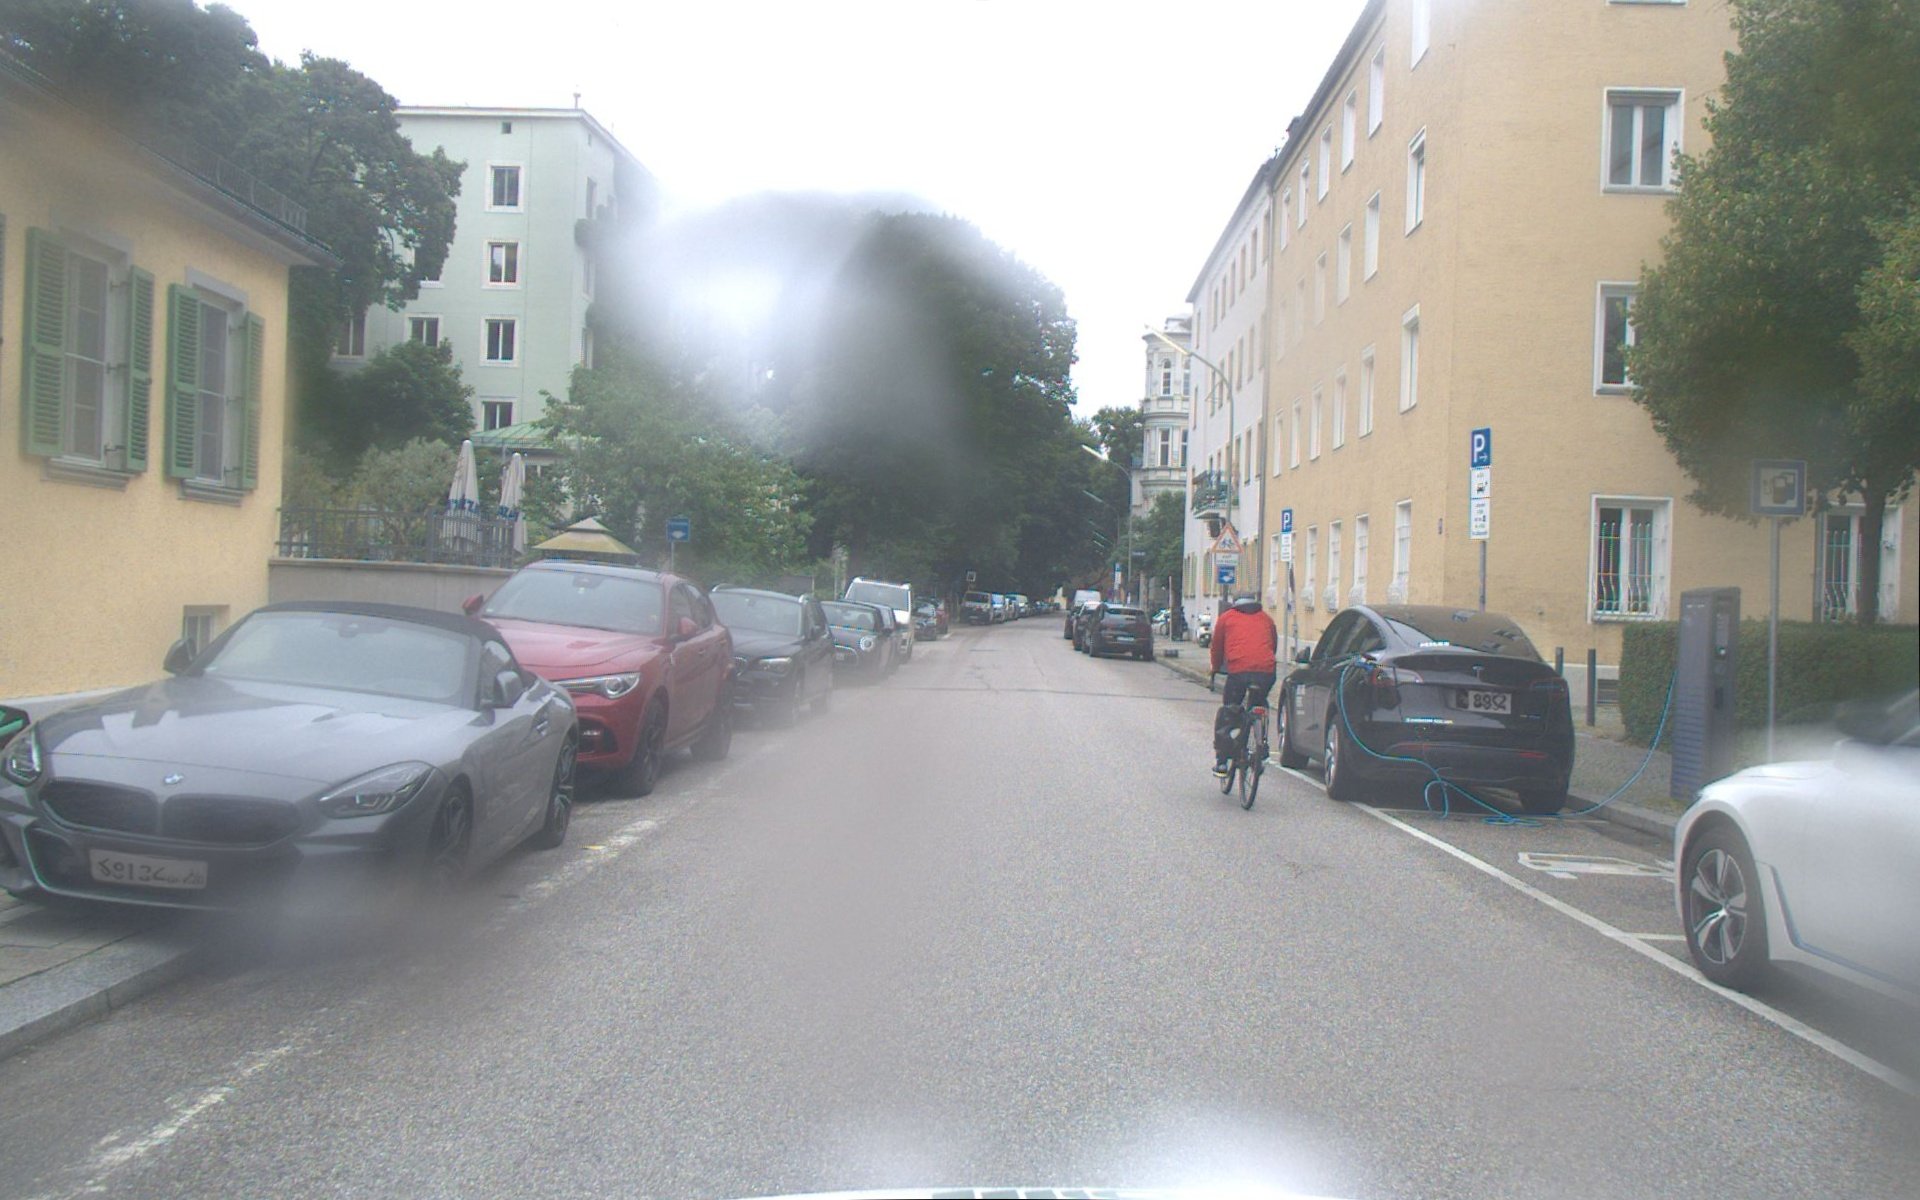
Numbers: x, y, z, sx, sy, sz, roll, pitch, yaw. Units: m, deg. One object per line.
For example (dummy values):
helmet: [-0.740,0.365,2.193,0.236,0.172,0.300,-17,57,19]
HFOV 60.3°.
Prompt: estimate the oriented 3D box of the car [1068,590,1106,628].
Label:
car: [7.749,0.535,101.023,2.157,2.247,4.857,1,-1,3]

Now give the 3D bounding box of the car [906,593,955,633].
car: [-1.267,0.560,73.284,1.848,1.618,4.529,3,0,2]

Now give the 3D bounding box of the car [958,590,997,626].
car: [1.108,0.477,101.379,2.201,1.990,5.454,3,0,2]

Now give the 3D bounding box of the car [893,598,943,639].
car: [-1.582,0.691,63.549,1.770,1.426,4.923,3,0,-1]

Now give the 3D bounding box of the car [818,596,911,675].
car: [-2.060,0.735,36.795,1.849,1.570,4.694,2,0,-2]

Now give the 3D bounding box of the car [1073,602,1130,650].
car: [4.847,0.882,57.197,1.800,1.558,4.417,1,0,3]

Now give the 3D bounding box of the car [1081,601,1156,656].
car: [4.898,0.841,51.753,1.822,1.604,4.899,1,0,-1]

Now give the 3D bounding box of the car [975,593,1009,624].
car: [2.215,0.582,113.056,2.138,1.990,5.168,3,0,2]

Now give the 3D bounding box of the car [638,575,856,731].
car: [-2.530,0.601,20.835,1.807,1.635,4.744,3,0,3]

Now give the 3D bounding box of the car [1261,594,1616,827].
car: [4.101,0.849,15.145,1.952,1.659,5.101,3,0,3]

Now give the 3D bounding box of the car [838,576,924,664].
car: [-1.972,0.492,42.770,1.926,2.025,5.151,3,0,-1]

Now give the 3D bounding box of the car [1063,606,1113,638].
car: [5.537,0.933,71.989,1.958,1.342,4.596,-1,0,2]

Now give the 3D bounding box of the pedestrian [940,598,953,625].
pedestrian: [-0.804,0.669,99.705,0.699,1.575,0.752,4,0,-1]

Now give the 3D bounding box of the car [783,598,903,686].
car: [-2.171,0.764,31.705,1.820,1.572,4.189,0,0,3]

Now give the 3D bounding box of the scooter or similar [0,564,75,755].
scooter or similar: [-6.902,0.411,11.578,0.356,1.337,1.252,2,0,25]

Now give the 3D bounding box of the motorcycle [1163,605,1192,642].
motorcycle: [8.955,0.938,68.120,0.839,1.458,2.707,2,0,1]

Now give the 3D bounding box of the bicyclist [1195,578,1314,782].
bicyclist: [2.301,0.609,13.019,0.739,1.509,0.982,3,-1,3]

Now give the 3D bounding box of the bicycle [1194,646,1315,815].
bicycle: [2.303,0.985,13.130,0.658,1.161,2.012,3,0,3]

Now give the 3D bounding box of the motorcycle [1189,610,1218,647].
motorcycle: [8.741,1.023,59.328,0.717,1.260,2.007,3,0,1]

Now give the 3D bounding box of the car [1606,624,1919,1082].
car: [4.200,0.915,5.603,1.953,1.485,4.956,3,0,-1]

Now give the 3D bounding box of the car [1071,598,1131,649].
car: [5.274,0.842,62.490,1.952,1.736,4.535,4,0,2]

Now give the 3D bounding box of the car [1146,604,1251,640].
car: [11.567,1.058,80.449,4.804,1.558,1.914,1,2,2]

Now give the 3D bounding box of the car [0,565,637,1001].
car: [-3.048,0.681,8.533,1.858,1.545,4.654,3,0,-1]

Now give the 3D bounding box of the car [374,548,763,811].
car: [-3.020,0.555,13.928,1.863,1.721,4.809,3,0,2]
